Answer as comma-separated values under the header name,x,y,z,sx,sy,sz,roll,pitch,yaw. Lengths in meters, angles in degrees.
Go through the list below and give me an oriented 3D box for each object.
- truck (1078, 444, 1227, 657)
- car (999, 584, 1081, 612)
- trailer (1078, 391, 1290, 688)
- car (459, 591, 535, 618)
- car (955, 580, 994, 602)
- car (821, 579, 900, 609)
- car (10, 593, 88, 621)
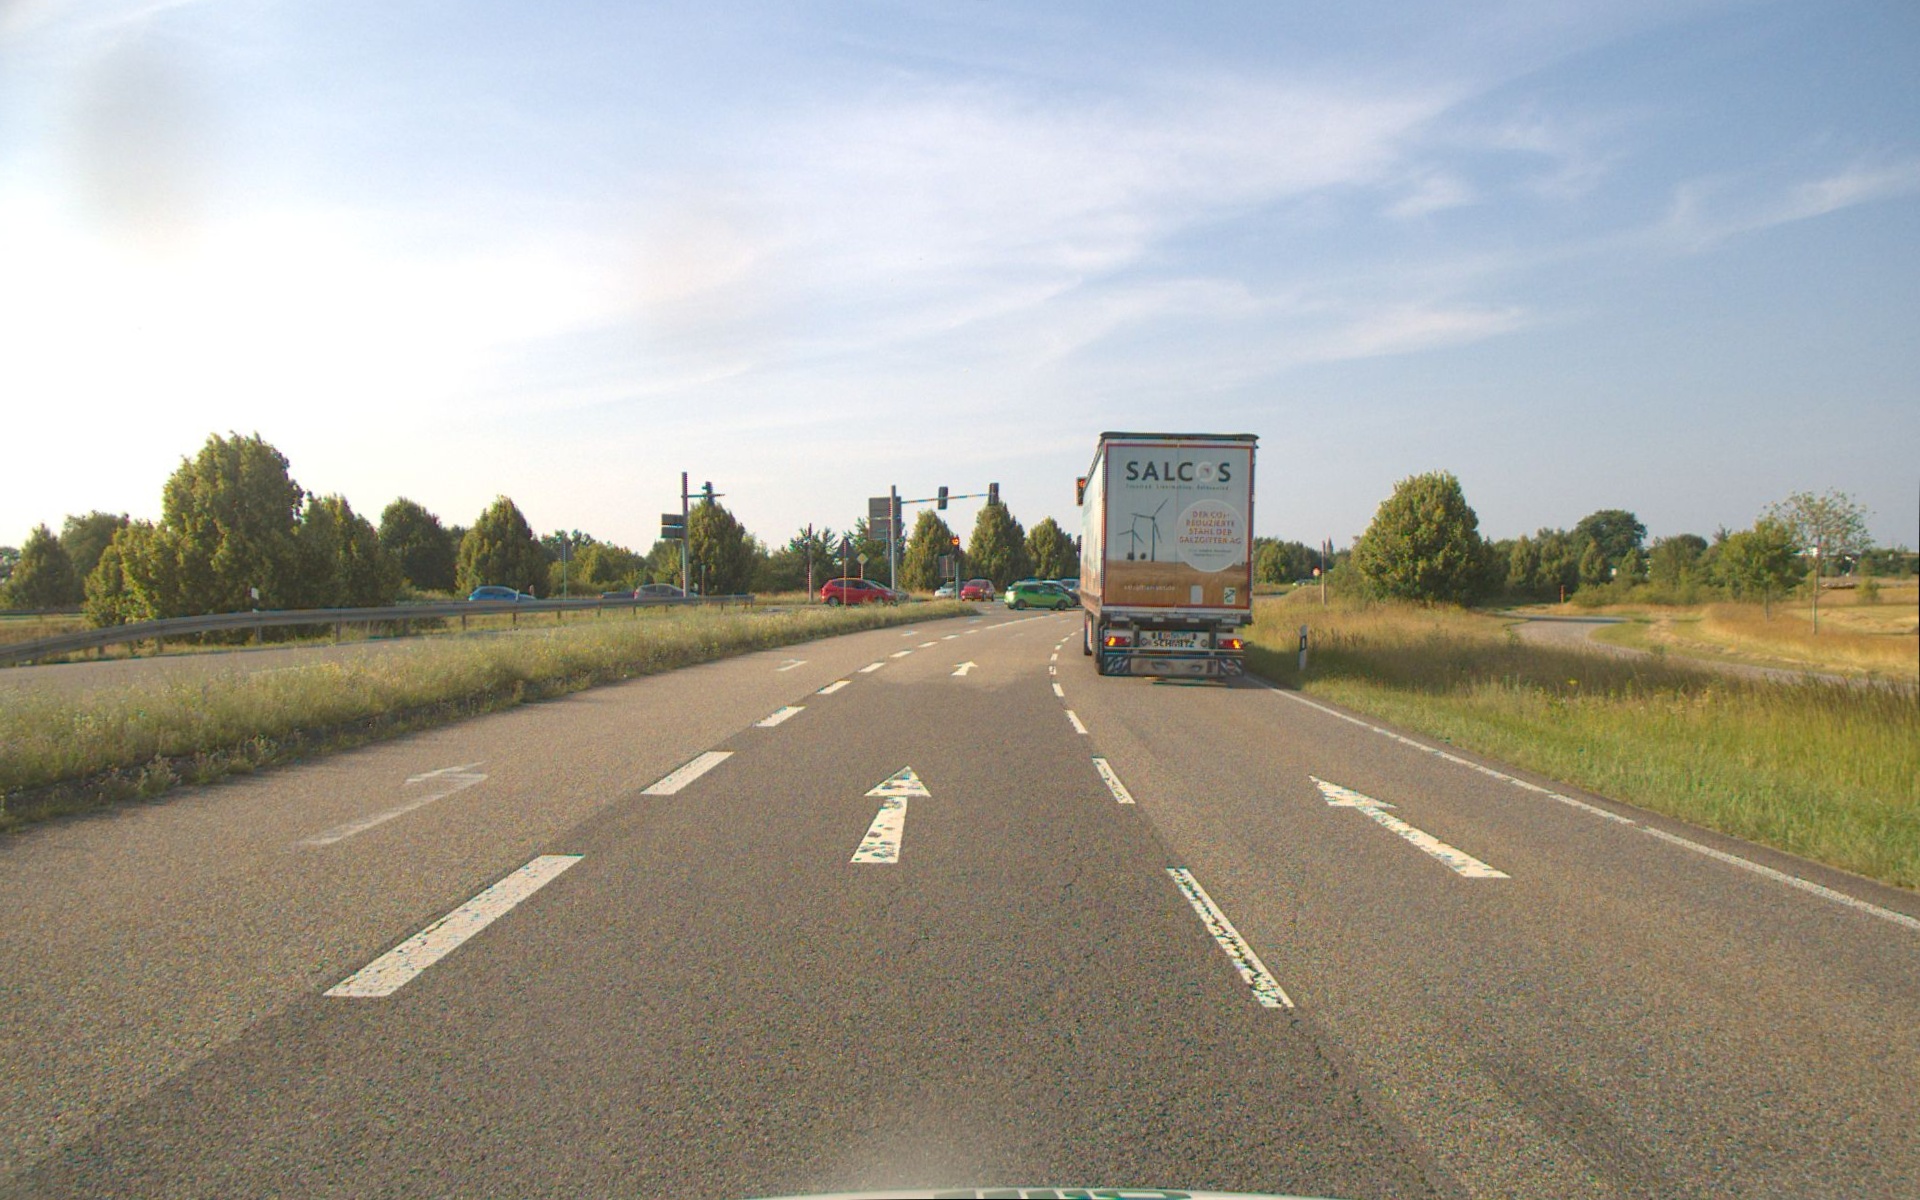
name,x,y,z,sx,sy,sz,roll,pitch,yaw
truck,4.539,-1.129,40.094,3.231,4.739,5.735,1,0,4
car,4.430,-0.088,92.132,4.336,1.442,1.918,1,-1,-6
trailer,4.097,-1.055,33.372,3.212,4.762,13.154,1,1,3
car,-27.048,0.230,96.686,3.887,1.518,1.780,1,1,13
car,1.027,-0.610,115.492,1.684,1.514,3.807,0,0,17
car,-5.567,-0.344,92.738,4.174,1.592,1.902,1,-1,5
car,-58.917,0.449,107.034,3.907,1.696,1.999,1,-1,-3
